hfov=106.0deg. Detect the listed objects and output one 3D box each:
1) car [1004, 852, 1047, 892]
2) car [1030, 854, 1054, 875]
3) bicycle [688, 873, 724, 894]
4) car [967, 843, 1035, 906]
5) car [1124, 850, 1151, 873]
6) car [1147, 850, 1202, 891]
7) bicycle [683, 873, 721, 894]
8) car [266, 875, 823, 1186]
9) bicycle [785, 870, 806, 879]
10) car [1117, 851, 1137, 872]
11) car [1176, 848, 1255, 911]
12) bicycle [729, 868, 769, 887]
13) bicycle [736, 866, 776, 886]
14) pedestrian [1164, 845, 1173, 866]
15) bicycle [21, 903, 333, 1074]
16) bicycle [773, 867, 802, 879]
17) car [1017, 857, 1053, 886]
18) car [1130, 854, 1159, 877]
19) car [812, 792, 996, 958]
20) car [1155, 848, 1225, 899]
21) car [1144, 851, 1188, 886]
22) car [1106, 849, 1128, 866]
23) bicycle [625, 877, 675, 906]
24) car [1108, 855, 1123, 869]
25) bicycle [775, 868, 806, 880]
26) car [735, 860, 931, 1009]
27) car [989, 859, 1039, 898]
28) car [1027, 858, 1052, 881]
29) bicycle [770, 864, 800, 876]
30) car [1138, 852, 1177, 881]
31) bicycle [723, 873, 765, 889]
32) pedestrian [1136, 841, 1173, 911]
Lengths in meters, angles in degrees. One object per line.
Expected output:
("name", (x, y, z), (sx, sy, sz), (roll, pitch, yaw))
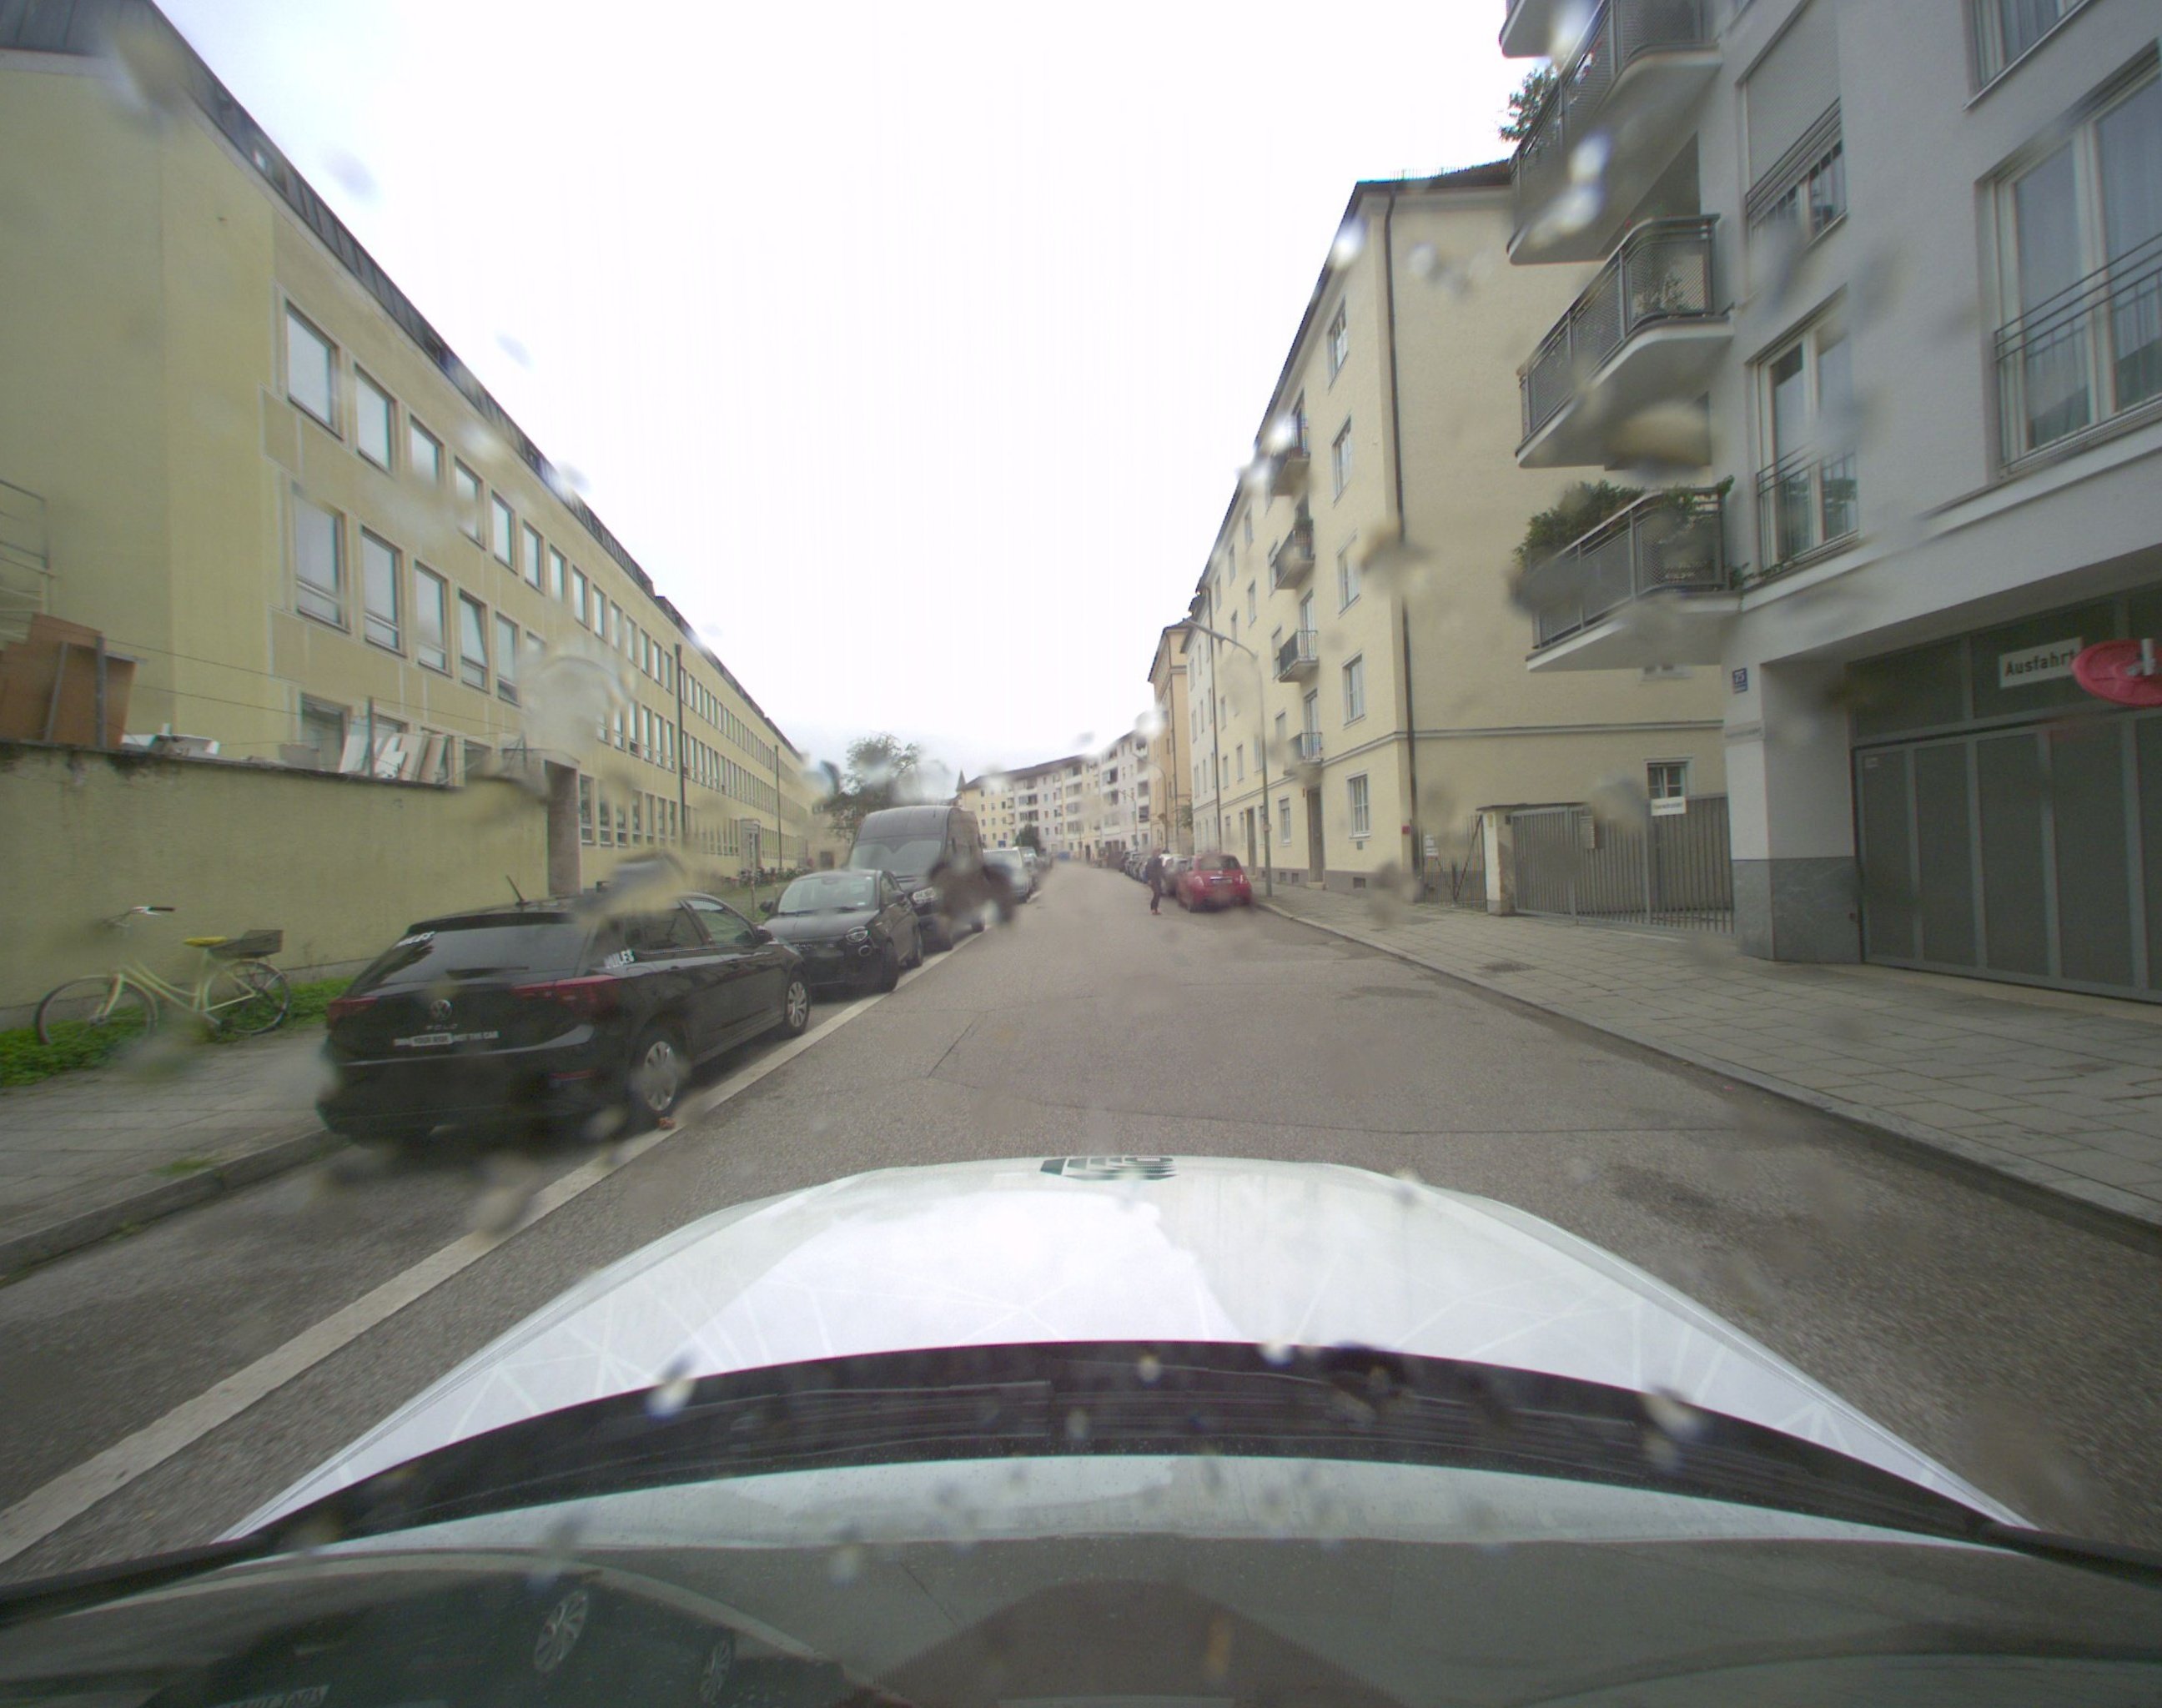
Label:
("car", (-2.611, 0.827, 39.150), (1.696, 1.691, 4.027), (-4, 0, 0))
("car", (-2.896, 0.792, 60.698), (1.619, 1.419, 3.979), (-3, 0, -1))
("bicycle", (-18.450, 1.432, 40.114), (1.530, 0.955, 0.364), (-2, 0, -16))
("car", (-2.754, 0.649, 28.923), (1.877, 1.931, 4.599), (-4, 0, -1))
("car", (3.983, 0.493, 57.757), (1.585, 1.582, 4.298), (-1, 0, 0))
("car", (3.733, 0.629, 33.180), (1.687, 1.491, 4.282), (-3, 0, 0))
("bicycle", (-17.953, 1.387, 38.601), (1.530, 0.955, 0.364), (-2, 0, -16))
("car", (-3.407, 0.969, 6.183), (1.696, 1.445, 3.823), (-2, 0, -1))
("bicycle", (-25.806, 1.826, 73.531), (1.742, 0.714, 0.611), (-2, -1, -18))
("car", (3.796, 0.586, 67.599), (1.469, 1.641, 4.000), (-1, 0, 0))
("car", (3.604, 0.642, 22.407), (1.589, 1.509, 3.802), (-2, 0, 2))
("bicycle", (-20.300, 1.457, 49.877), (2.211, 1.037, 0.492), (-2, -1, -18))
("bicycle", (-20.984, 1.431, 52.583), (2.250, 1.168, 1.042), (-2, 0, -15))
("pedestrian", (7.193, 0.136, 67.094), (0.664, 1.692, 0.690), (0, -1, 1))
("bicycle", (-7.770, 1.086, 7.150), (0.675, 1.192, 1.778), (-1, 0, 3))
("bicycle", (-22.829, 1.515, 63.360), (2.124, 0.835, 0.643), (-2, -1, -18))
("car", (-2.484, 0.930, 44.731), (1.618, 1.412, 3.798), (-4, 0, 0))
("car", (4.111, 0.702, 53.016), (1.585, 1.432, 3.825), (-1, 0, 0))
("car", (-3.165, 0.328, 15.979), (2.079, 2.636, 5.381), (-2, 0, 3))
("car", (3.562, 0.640, 27.300), (1.687, 1.491, 4.342), (-3, -1, 0))
("car", (3.932, 0.631, 38.152), (1.594, 1.491, 3.798), (-2, 0, 0))
("car", (3.691, 0.327, 83.979), (1.601, 1.715, 3.080), (-1, 0, -8))
("bicycle", (-15.542, 1.347, 29.382), (1.530, 0.955, 0.364), (-2, 0, -16))
("car", (3.363, 0.735, 79.541), (1.268, 1.299, 2.797), (-2, 0, 0))
("bicycle", (-22.328, 1.517, 62.708), (2.211, 0.835, 0.492), (-2, -1, -18))
("car", (-3.066, 0.901, 10.802), (1.582, 1.538, 3.539), (-4, 0, -3))
("car", (-2.716, 0.957, 33.637), (1.647, 1.373, 3.652), (-4, 0, 0))
("car", (-2.800, 1.013, 55.642), (1.619, 1.419, 3.978), (-3, 0, -2))
("bicycle", (-23.880, 1.308, 65.815), (2.211, 0.896, 0.643), (-2, -1, -18))
("car", (4.033, 0.657, 43.295), (1.687, 1.432, 3.944), (-1, -1, 0))
("bicycle", (-19.743, 1.581, 47.805), (2.211, 0.835, 0.492), (-2, -1, -18))
("pedestrian", (1.846, 0.552, 20.566), (0.793, 1.728, 0.671), (-1, -2, -6))
